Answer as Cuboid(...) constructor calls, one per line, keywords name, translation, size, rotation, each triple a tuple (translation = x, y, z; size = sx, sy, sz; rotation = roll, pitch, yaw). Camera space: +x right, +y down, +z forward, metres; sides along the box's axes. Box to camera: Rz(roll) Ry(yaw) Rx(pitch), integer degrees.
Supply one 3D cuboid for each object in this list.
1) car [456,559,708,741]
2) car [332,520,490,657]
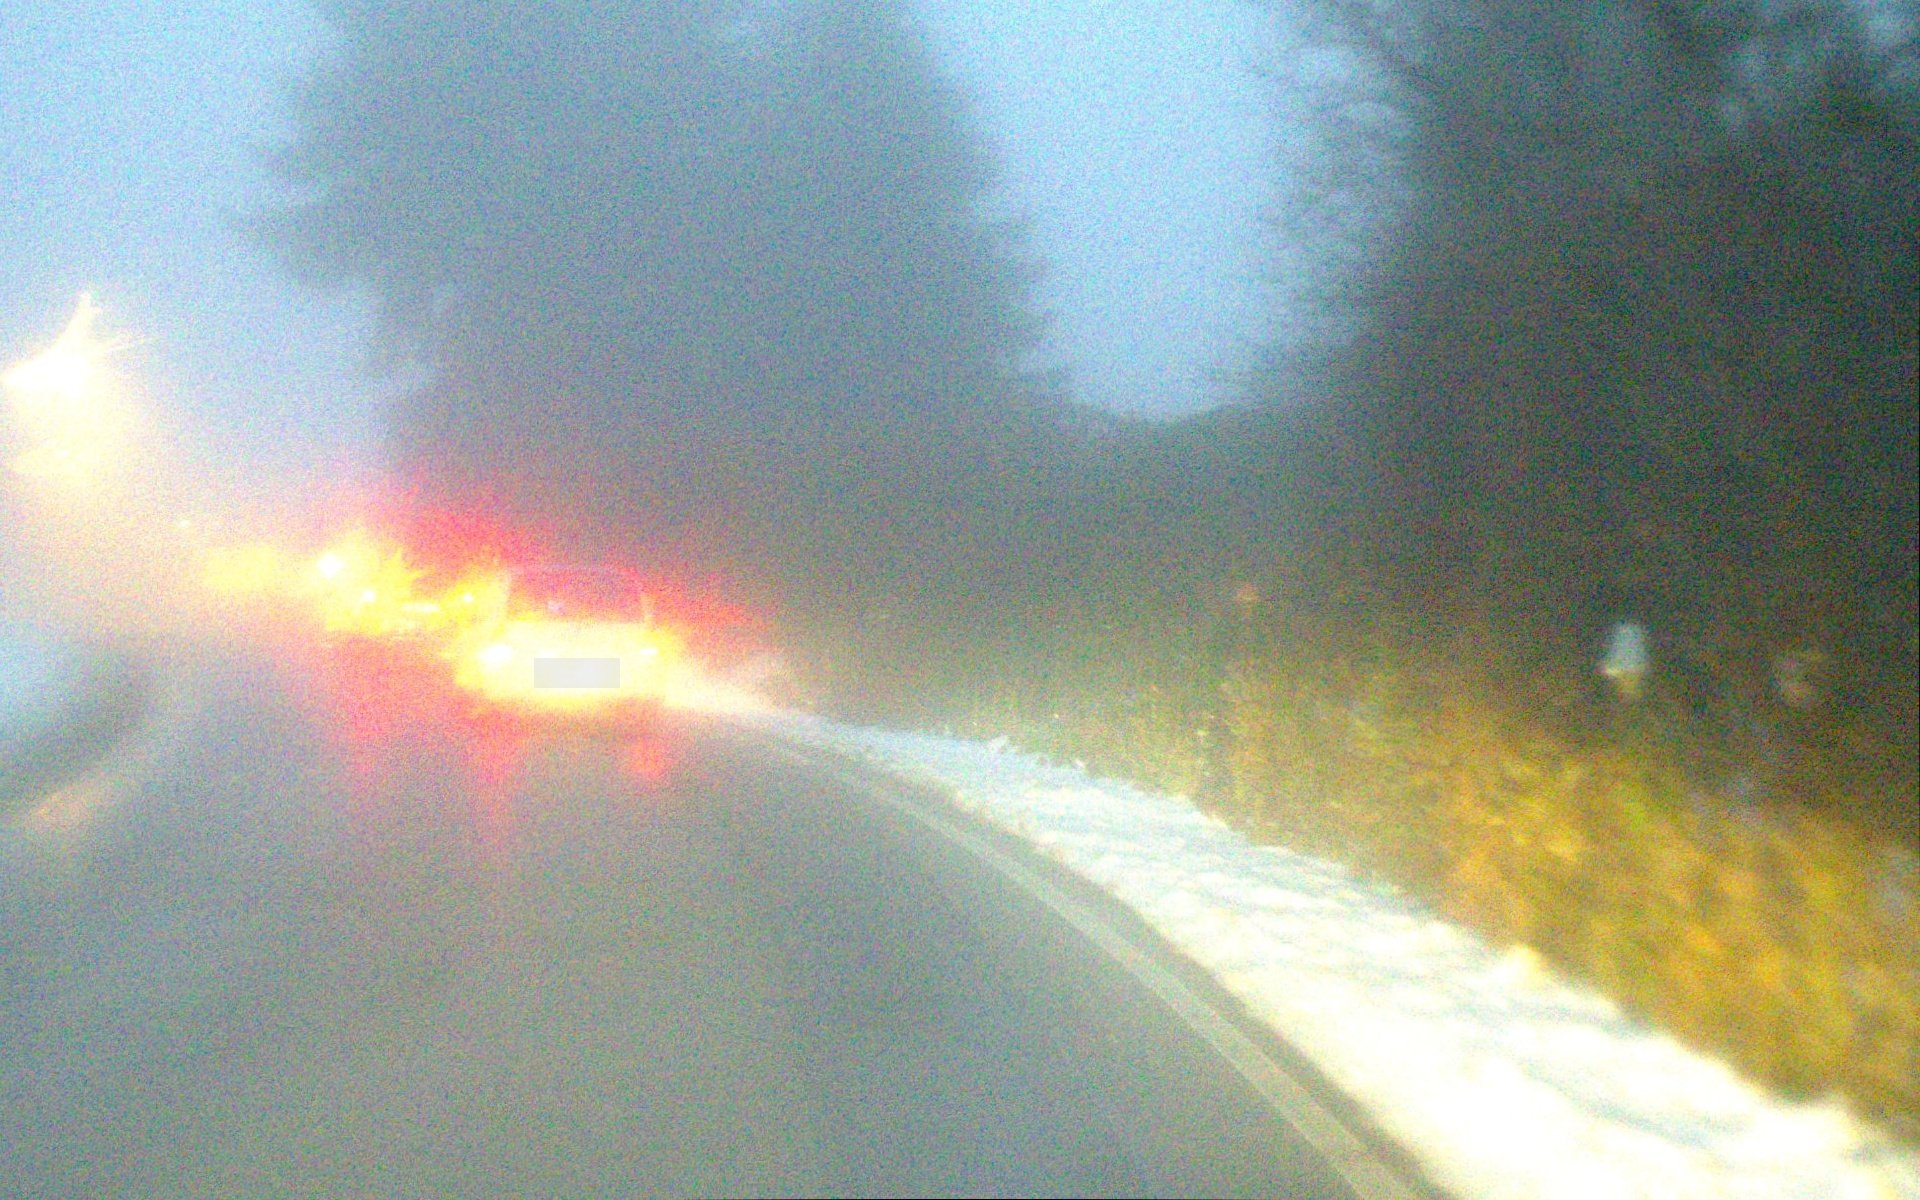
Cuboid(name="car", translation=(-3.439, 0.421, 30.691), size=(1.993, 1.503, 4.001), rotation=(1, 0, -9))
Cuboid(name="car", translation=(-7.441, -0.147, 46.346), size=(1.993, 1.744, 4.001), rotation=(1, 0, -10))
